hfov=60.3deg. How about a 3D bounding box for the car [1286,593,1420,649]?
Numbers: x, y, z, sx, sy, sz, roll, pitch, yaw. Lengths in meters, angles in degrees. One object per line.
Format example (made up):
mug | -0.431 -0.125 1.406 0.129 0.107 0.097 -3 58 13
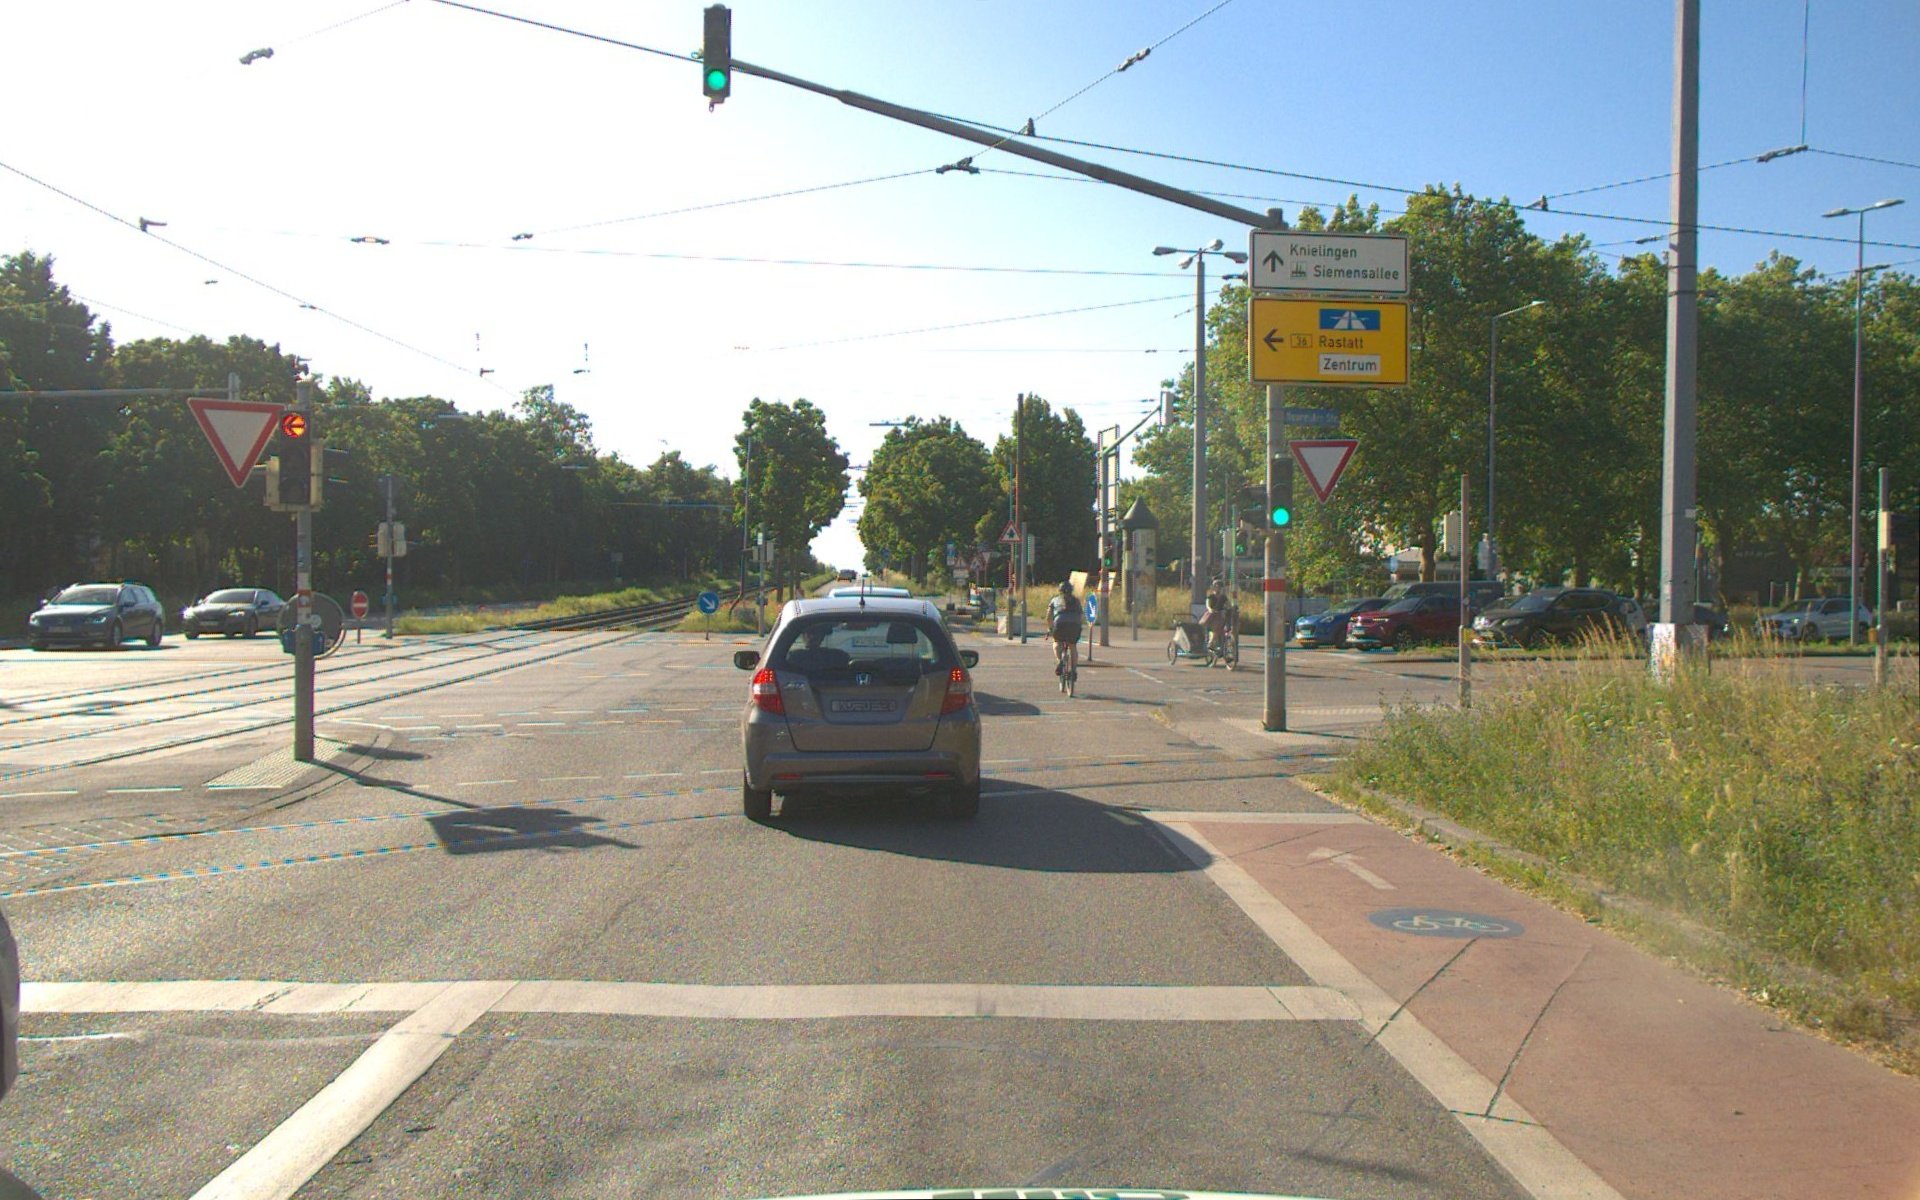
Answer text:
car | 11.787 0.606 49.599 3.806 1.628 1.696 0 0 -30

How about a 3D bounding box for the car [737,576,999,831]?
car | -0.645 0.644 12.510 1.637 1.541 3.673 2 2 -2

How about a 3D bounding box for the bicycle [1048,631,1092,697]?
bicycle | 1.685 0.970 25.565 0.513 0.939 2.088 0 0 -1

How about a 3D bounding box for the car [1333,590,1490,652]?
car | 12.401 0.546 45.427 4.026 1.628 1.801 0 0 -26

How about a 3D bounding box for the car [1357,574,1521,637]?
car | 16.435 0.187 56.910 4.999 2.106 2.130 0 0 -1

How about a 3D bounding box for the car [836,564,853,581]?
car | -14.181 -3.387 203.970 1.953 2.049 3.998 0 0 -2

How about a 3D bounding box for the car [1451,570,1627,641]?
car | 15.006 0.130 42.807 4.432 1.741 1.902 0 0 -30

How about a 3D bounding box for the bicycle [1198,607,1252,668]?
bicycle | 5.237 0.728 32.761 0.458 1.138 1.815 0 0 -11

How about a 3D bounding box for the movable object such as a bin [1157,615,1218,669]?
movable object such as a bin | 4.737 0.870 34.517 0.893 1.087 1.313 0 0 -12

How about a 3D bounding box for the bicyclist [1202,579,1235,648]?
bicyclist | 5.190 0.271 33.232 0.500 1.364 0.563 0 0 -12

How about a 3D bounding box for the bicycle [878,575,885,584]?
bicycle | -9.412 -2.444 198.310 0.801 1.066 2.505 1 -1 -2

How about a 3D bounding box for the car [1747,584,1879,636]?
car | 30.053 0.360 58.254 4.708 1.711 1.891 2 -1 -29

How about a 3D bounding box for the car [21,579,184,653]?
car | -19.985 0.350 38.791 1.778 1.624 4.687 0 0 -6

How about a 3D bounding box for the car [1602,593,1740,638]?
car | 23.752 0.498 55.249 4.505 1.432 1.916 0 0 -29

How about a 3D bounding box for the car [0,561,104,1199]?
car | -3.119 0.689 2.173 1.839 1.554 4.419 0 0 -2

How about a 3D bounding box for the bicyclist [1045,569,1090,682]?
bicyclist | 1.653 0.383 25.512 0.603 1.709 0.933 0 0 -2

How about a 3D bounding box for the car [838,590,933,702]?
car | -1.102 0.639 24.597 1.324 1.554 3.122 0 0 -2

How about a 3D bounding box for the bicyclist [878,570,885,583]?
bicyclist | -9.396 -2.827 198.335 0.801 1.551 0.965 1 -1 -2

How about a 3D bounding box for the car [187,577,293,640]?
car | -20.449 0.236 47.138 1.757 1.717 3.994 0 0 -8
